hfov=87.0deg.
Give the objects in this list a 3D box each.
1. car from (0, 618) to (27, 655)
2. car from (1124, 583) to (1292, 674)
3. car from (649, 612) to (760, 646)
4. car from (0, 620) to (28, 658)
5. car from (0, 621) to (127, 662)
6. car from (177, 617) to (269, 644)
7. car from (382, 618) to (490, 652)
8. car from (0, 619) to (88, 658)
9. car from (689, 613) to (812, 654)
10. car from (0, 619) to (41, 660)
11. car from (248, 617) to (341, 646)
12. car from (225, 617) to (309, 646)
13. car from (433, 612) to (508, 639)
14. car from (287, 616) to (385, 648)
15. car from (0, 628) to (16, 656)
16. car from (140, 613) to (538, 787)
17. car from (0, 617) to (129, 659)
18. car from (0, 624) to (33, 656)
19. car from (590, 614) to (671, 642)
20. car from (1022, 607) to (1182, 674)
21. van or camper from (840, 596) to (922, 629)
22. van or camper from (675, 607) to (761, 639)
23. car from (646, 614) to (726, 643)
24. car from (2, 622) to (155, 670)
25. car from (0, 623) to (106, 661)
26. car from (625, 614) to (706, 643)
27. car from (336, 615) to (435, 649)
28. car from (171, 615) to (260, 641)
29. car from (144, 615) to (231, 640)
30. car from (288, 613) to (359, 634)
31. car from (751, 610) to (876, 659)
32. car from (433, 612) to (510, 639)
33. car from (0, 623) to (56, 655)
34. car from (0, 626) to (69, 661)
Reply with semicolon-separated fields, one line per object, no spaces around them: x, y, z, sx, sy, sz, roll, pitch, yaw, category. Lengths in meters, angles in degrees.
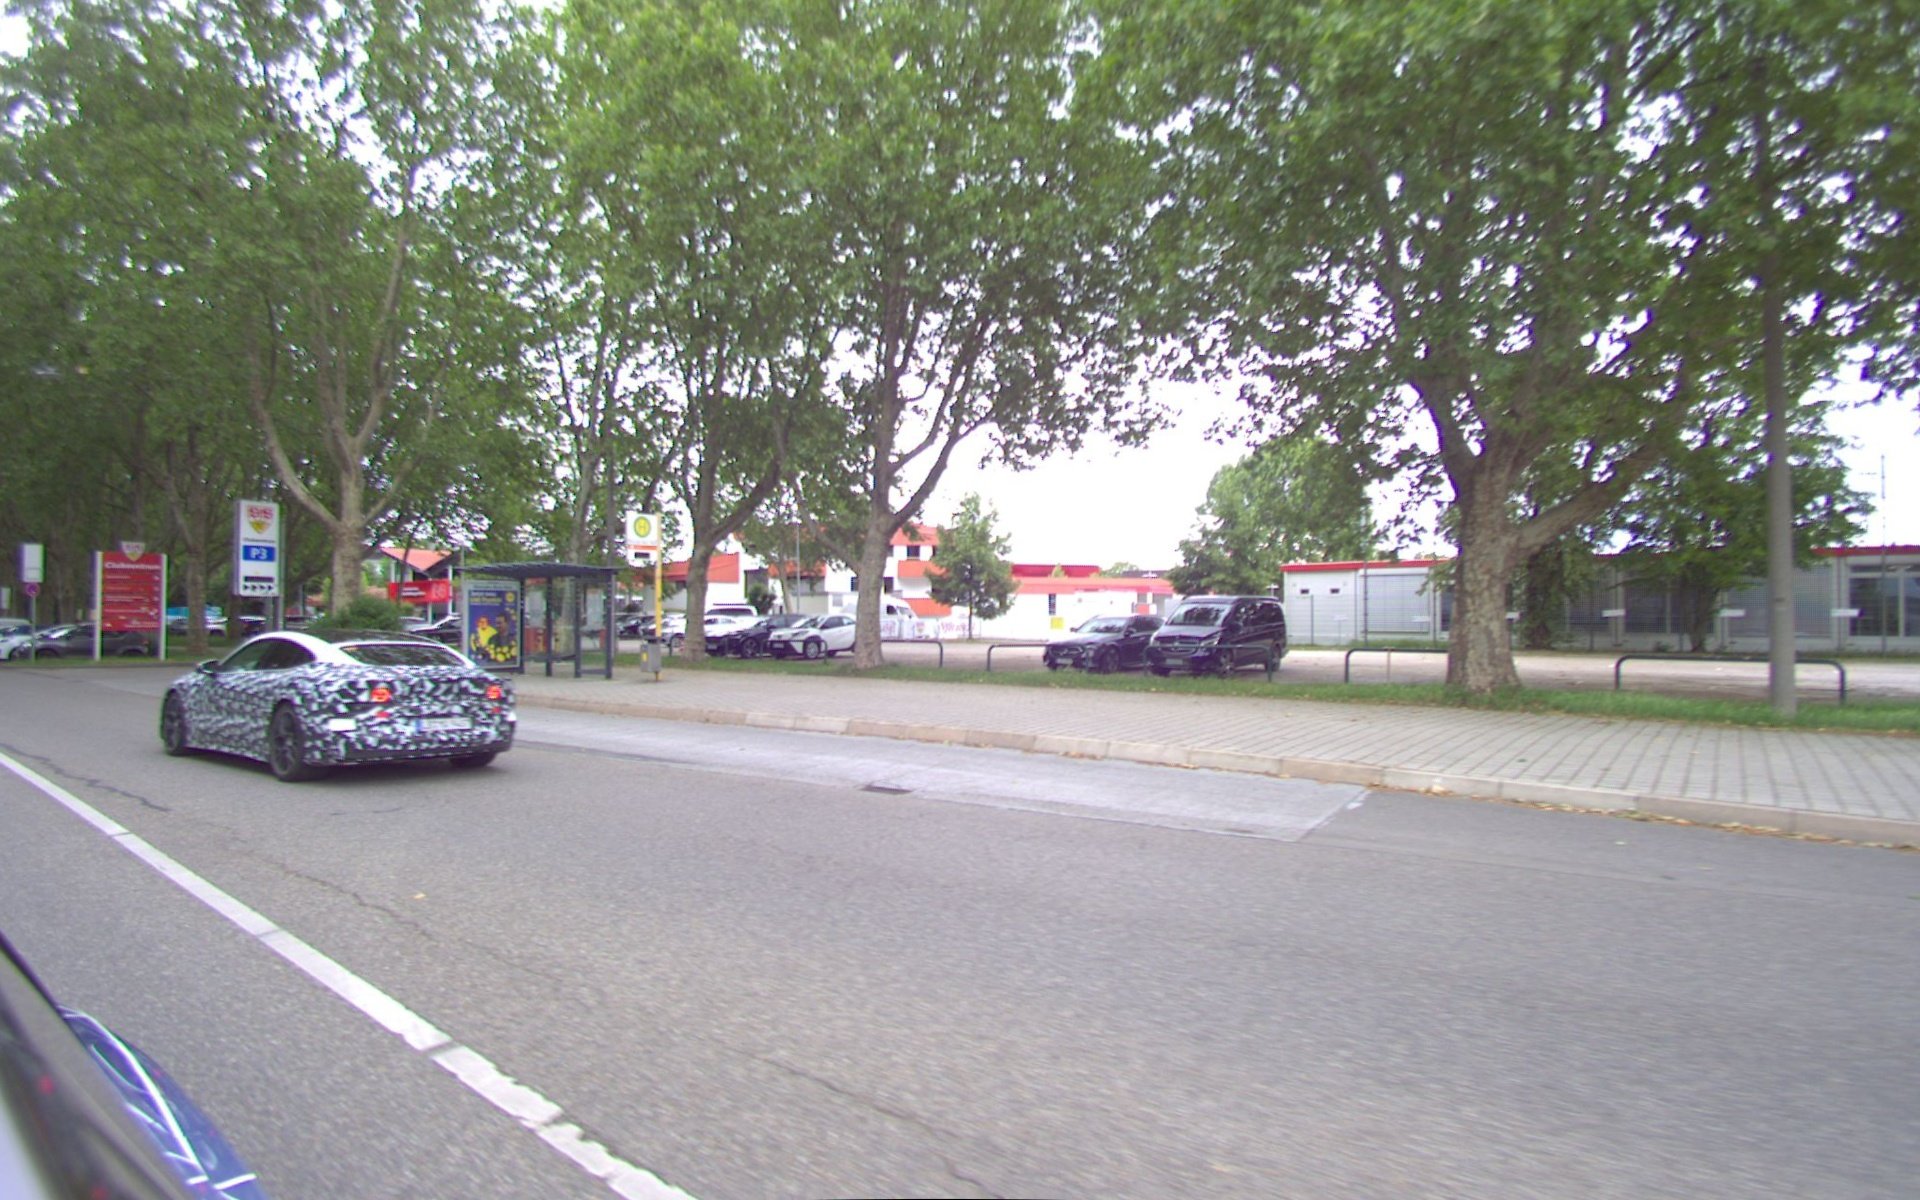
-49.446;1.780;50.217;1.863;1.824;4.280;-1;-4;35;car
6.260;0.656;25.227;2.261;2.041;4.568;-1;-1;41;car
-12.293;1.362;48.771;4.891;1.564;2.107;0;-1;-24;car
-47.663;1.871;48.418;2.034;1.808;4.275;-1;-1;39;car
-33.713;1.498;37.660;1.911;1.395;3.951;-1;-1;42;car
-52.620;2.159;72.339;2.179;1.810;4.897;-2;-2;36;car
-26.125;1.690;50.553;2.200;1.560;4.280;-1;-1;38;car
-39.662;1.619;42.490;1.905;1.560;4.224;-1;-4;37;car
-7.388;1.140;35.901;1.999;1.334;3.949;-1;-1;38;car
-44.351;1.774;45.431;1.865;1.824;4.275;-2;-4;38;car
-42.539;2.000;64.805;2.293;1.738;4.509;-1;-1;38;car
-46.594;2.098;68.151;2.025;1.875;4.280;-1;-1;37;car
-36.355;1.881;75.181;2.297;1.869;4.528;-1;-1;43;car
-37.188;1.879;60.375;2.293;1.775;4.476;-1;-1;38;car
-51.398;2.149;52.083;1.756;1.483;3.758;-1;-3;28;car
-6.707;0.935;10.736;4.805;1.464;1.884;-2;-3;36;car
-35.339;1.452;39.683;1.830;1.505;3.955;-1;-1;38;car
-45.821;1.833;46.817;2.012;1.463;4.086;-2;-5;40;car
-19.542;1.639;60.174;1.956;1.560;4.280;-1;-1;37;car
3.865;1.007;26.961;2.108;1.579;4.578;0;0;41;car
-5.101;0.817;64.973;5.295;2.029;1.975;-1;-1;38;van or camper
-13.407;1.245;56.269;2.129;1.722;4.280;-1;-1;38;van or camper
-15.522;1.573;57.463;1.787;1.560;4.178;-1;-1;37;car
-31.636;1.604;36.400;1.803;1.552;3.953;-1;-1;40;car
-37.342;1.682;41.006;1.860;1.416;3.948;-1;-1;38;car
-17.161;1.649;59.109;1.956;1.560;4.280;-1;-1;37;car
-31.474;1.717;55.515;2.129;1.722;4.280;-1;-1;38;car
-54.607;2.031;74.323;2.179;1.810;4.897;-1;-1;36;car
-58.777;2.081;77.050;2.179;1.810;4.897;-1;-1;36;car
-56.698;2.068;90.184;2.179;1.810;4.897;-1;-1;36;car
-4.952;1.124;34.582;2.000;1.534;3.948;-1;-1;39;car
-35.300;1.833;73.176;2.297;1.869;4.528;-1;-1;43;car
-43.700;1.775;45.594;1.964;1.364;4.151;-1;-1;36;car
-41.674;1.909;44.161;1.882;1.415;3.950;-1;-1;37;car
